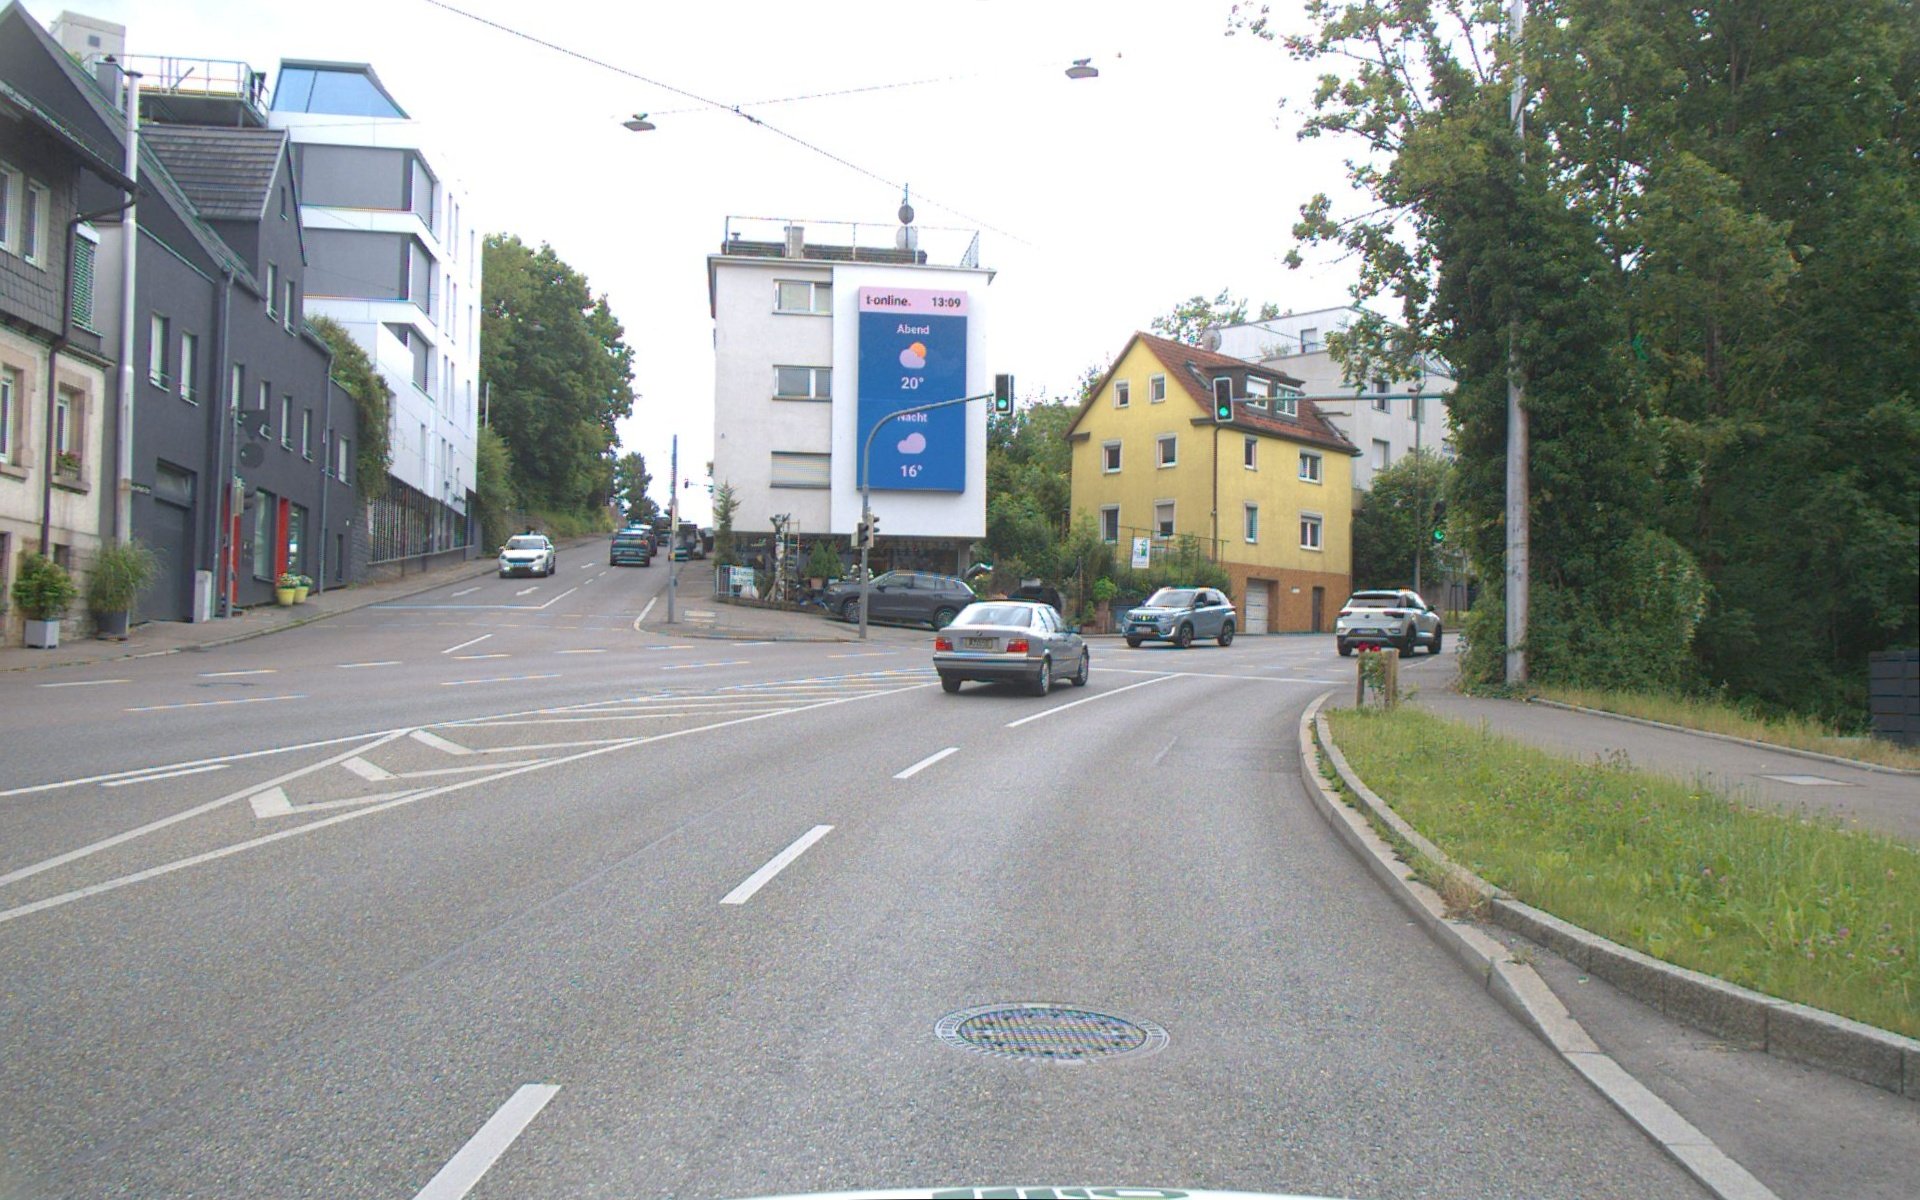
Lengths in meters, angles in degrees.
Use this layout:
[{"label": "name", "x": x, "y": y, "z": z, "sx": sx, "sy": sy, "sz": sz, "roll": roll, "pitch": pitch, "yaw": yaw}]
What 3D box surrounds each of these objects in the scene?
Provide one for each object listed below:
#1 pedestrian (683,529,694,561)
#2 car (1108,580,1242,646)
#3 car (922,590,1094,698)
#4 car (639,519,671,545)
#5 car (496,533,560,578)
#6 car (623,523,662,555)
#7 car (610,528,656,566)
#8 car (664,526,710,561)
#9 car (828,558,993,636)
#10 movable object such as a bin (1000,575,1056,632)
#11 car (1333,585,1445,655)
[{"label": "pedestrian", "x": -13.405, "y": -2.732, "z": 81.736, "sx": 0.449, "sy": 1.556, "sz": 0.526, "roll": 1, "pitch": -1, "yaw": -6}, {"label": "car", "x": 5.961, "y": 0.345, "z": 45.491, "sx": 1.864, "sy": 1.725, "sz": 4.331, "roll": 1, "pitch": 0, "yaw": 35}, {"label": "car", "x": 0.833, "y": 0.630, "z": 25.909, "sx": 1.670, "sy": 1.489, "sz": 4.002, "roll": 2, "pitch": 1, "yaw": 17}, {"label": "car", "x": -19.465, "y": -4.321, "z": 105.754, "sx": 1.760, "sy": 1.490, "sz": 3.994, "roll": 2, "pitch": 1, "yaw": -8}, {"label": "car", "x": -16.699, "y": -1.755, "z": 64.098, "sx": 1.847, "sy": 1.594, "sz": 4.383, "roll": 1, "pitch": 3, "yaw": -8}, {"label": "car", "x": -16.848, "y": -3.257, "z": 88.016, "sx": 1.746, "sy": 1.606, "sz": 3.995, "roll": 2, "pitch": 3, "yaw": -8}, {"label": "car", "x": -14.968, "y": -2.460, "z": 75.796, "sx": 1.746, "sy": 1.606, "sz": 3.995, "roll": 2, "pitch": 3, "yaw": -8}, {"label": "car", "x": -13.844, "y": -2.854, "z": 84.068, "sx": 2.049, "sy": 1.641, "sz": 3.995, "roll": 1, "pitch": 1, "yaw": -6}, {"label": "car", "x": -1.529, "y": -0.111, "z": 49.578, "sx": 4.601, "sy": 1.741, "sz": 2.316, "roll": 6, "pitch": 3, "yaw": -8}, {"label": "movable object such as a bin", "x": 2.280, "y": 0.106, "z": 55.134, "sx": 1.725, "sy": 1.810, "sz": 1.856, "roll": 1, "pitch": 0, "yaw": 5}, {"label": "car", "x": 10.574, "y": 0.471, "z": 40.627, "sx": 1.746, "sy": 1.606, "sz": 3.994, "roll": 1, "pitch": 0, "yaw": 28}]
